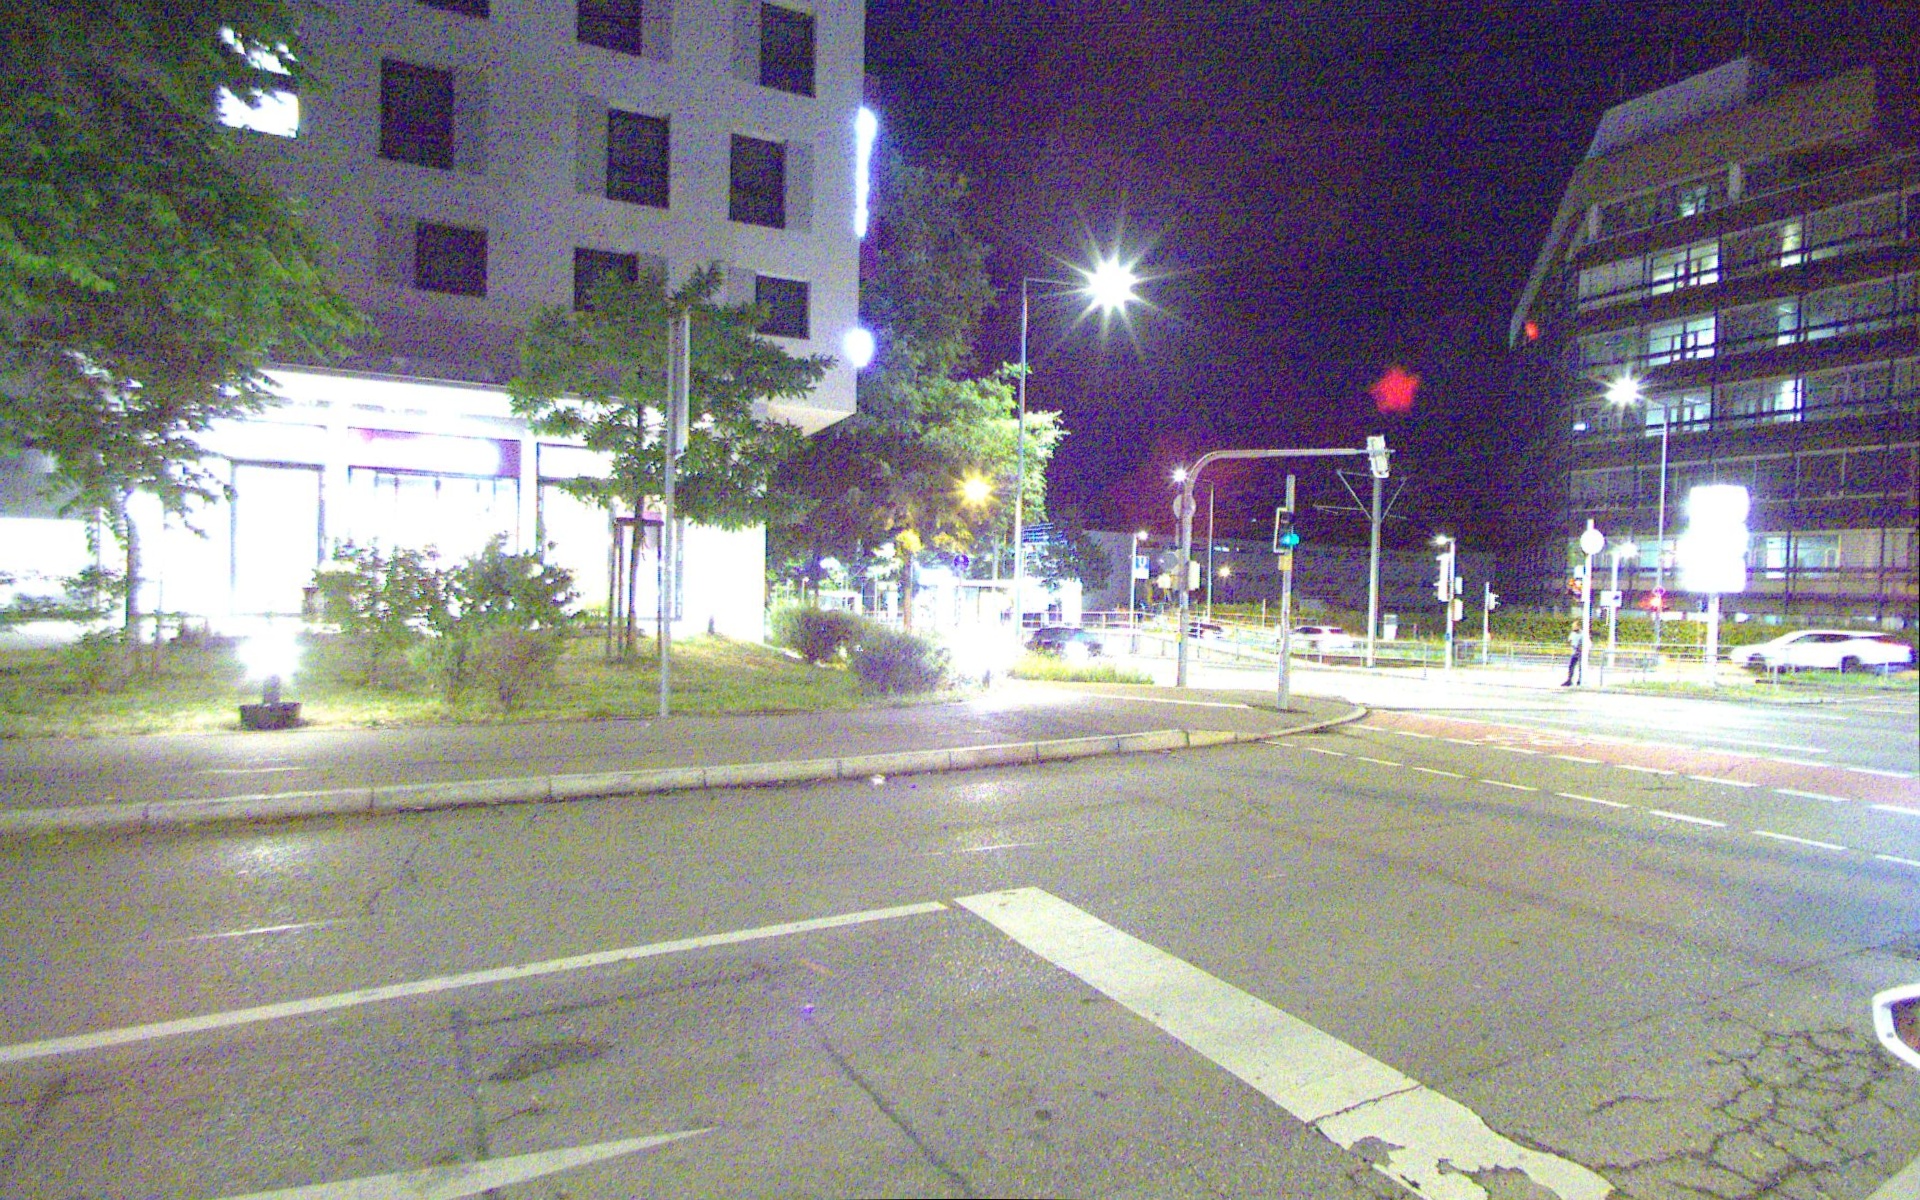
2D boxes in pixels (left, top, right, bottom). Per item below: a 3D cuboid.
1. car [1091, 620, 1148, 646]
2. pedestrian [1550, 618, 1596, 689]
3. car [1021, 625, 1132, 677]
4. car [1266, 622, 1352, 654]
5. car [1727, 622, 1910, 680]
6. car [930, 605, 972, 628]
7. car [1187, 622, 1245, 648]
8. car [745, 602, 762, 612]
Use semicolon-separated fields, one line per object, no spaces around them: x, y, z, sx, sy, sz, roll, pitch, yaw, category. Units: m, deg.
10.631;2.169;67.232;1.845;1.506;3.822;3;0;-26;car
15.770;1.368;25.841;0.693;1.745;0.679;2;0;-3;pedestrian
3.707;1.596;32.533;1.638;1.493;3.861;-2;0;-28;car
19.064;2.035;55.093;1.755;1.506;4.559;1;0;-26;car
29.417;1.710;34.581;1.916;1.665;4.382;3;0;-26;car
-0.872;1.505;92.996;1.845;1.909;4.926;3;0;-26;car
17.156;2.340;67.472;1.786;1.653;3.810;1;-1;-23;car
-33.471;1.141;162.932;1.845;1.506;3.822;3;0;-26;car
